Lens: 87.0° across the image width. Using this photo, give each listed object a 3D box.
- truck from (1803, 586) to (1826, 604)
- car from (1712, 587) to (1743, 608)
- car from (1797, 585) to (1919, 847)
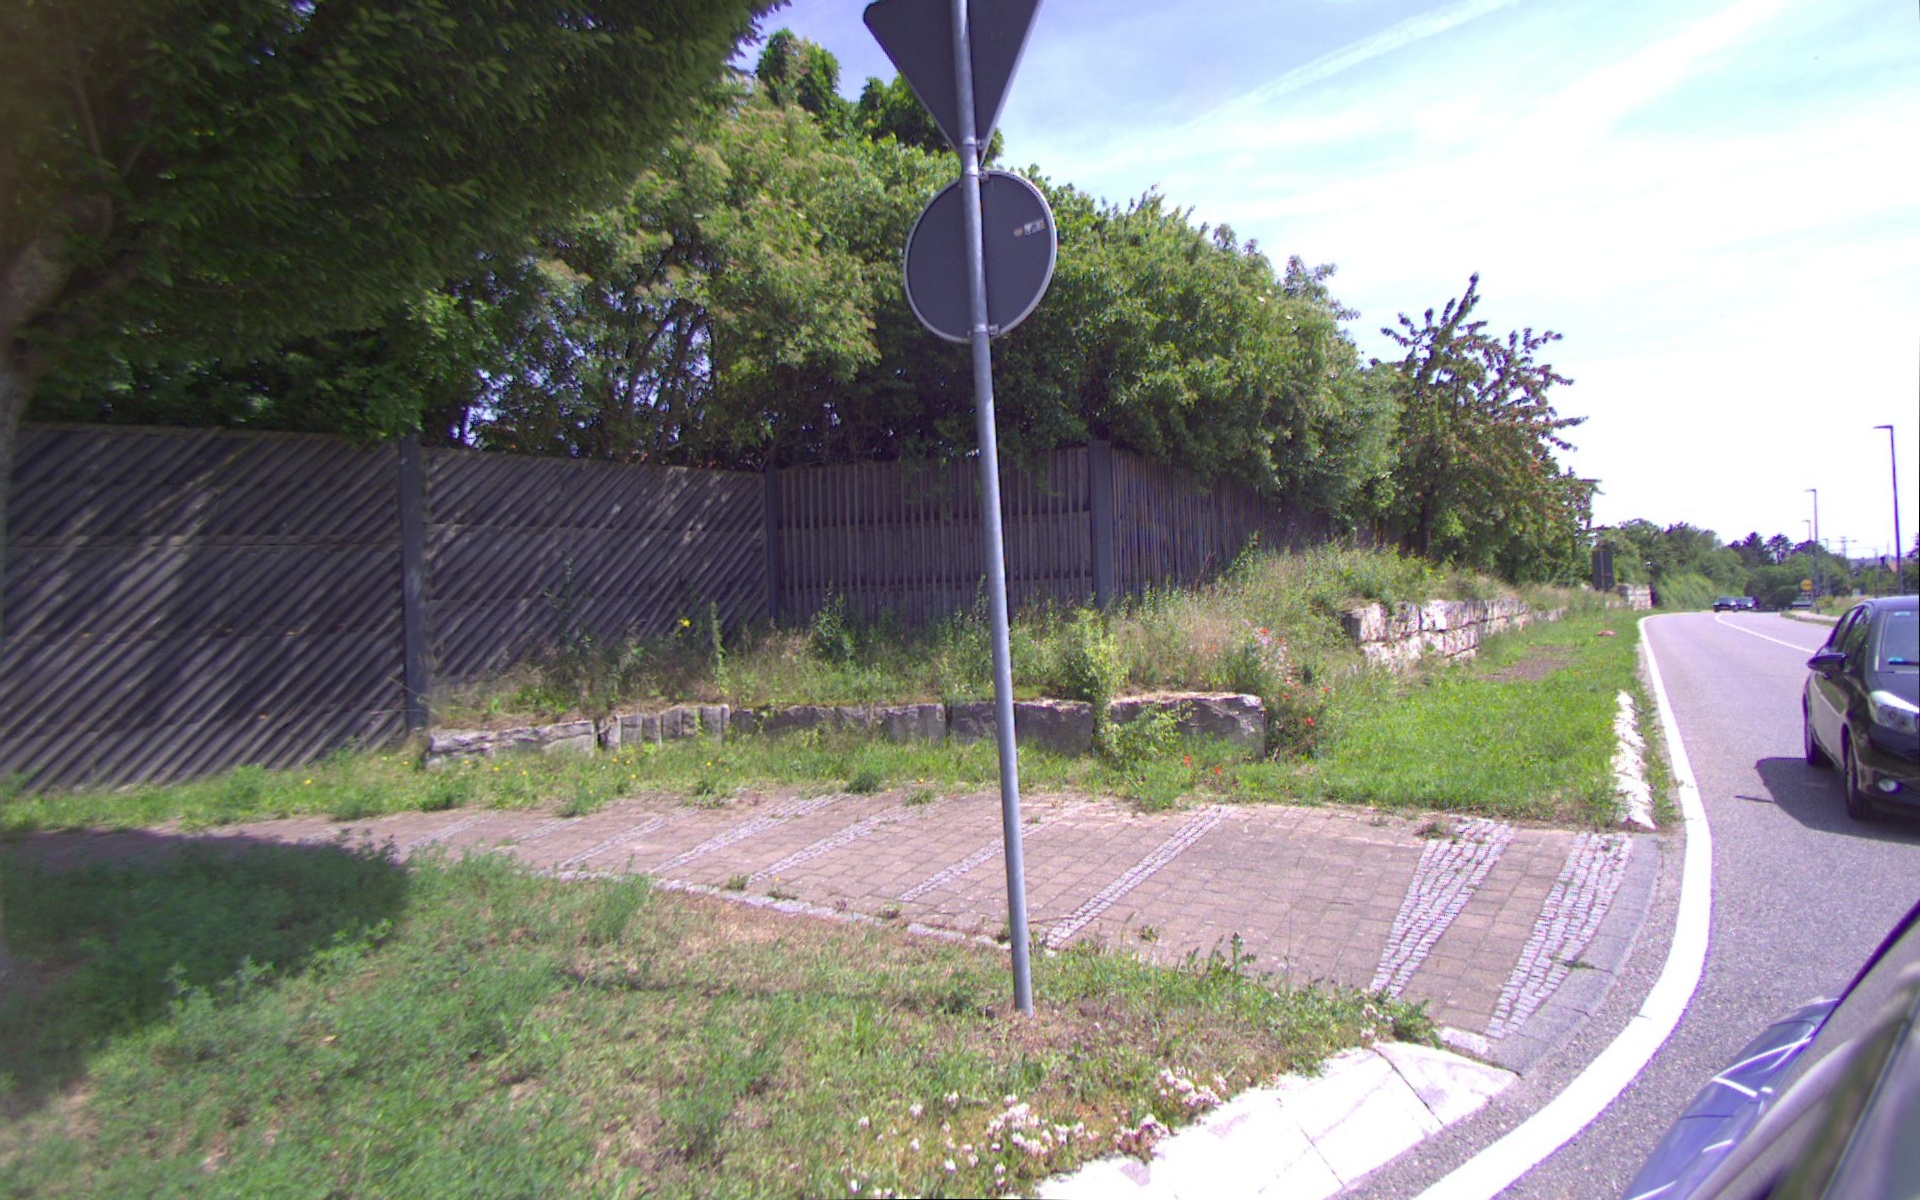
[{"bbox_3d":[111.956,-0.694,132.684,2.219,2.322,6.397,-1,0,40],"label":"truck"},{"bbox_3d":[79.923,-0.248,105.444,2.178,2.039,4.721,-4,-2,35],"label":"car"},{"bbox_3d":[7.211,0.629,7.123,1.667,1.483,4.377,0,0,35],"label":"car"}]
